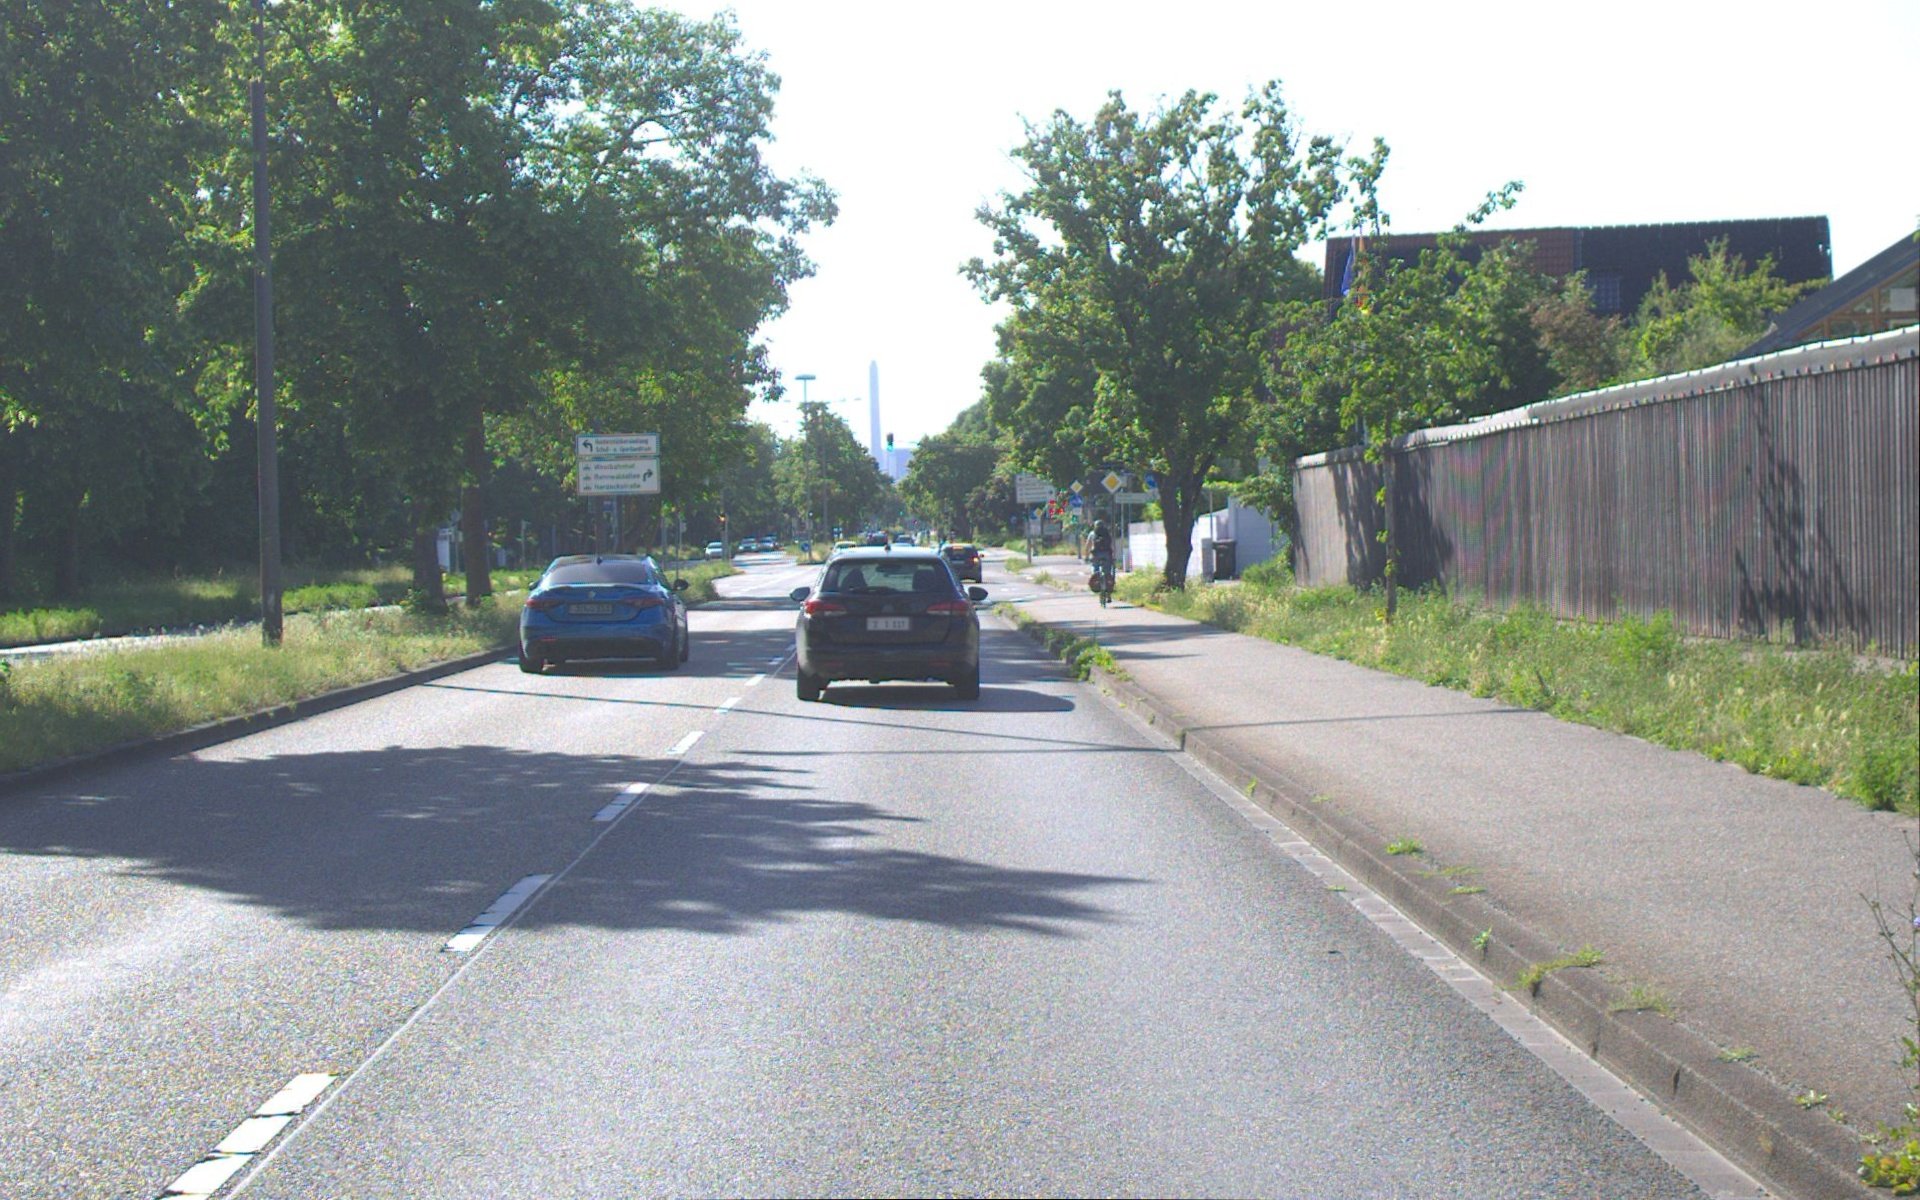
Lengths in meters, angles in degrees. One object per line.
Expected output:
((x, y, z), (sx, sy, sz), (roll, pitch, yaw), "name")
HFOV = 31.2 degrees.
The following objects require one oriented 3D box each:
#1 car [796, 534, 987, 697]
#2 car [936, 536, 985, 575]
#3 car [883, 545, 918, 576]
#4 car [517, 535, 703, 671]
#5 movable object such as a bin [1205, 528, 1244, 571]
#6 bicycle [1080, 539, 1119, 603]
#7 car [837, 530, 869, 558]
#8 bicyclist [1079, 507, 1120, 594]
((-0.667, 0.123, 33.947), (1.755, 1.504, 3.809), (-1, 1, -1), "car")
((0.042, -1.734, 133.359), (1.732, 1.454, 3.840), (-1, 1, 3), "car")
((-3.118, -2.036, 179.409), (1.732, 1.579, 3.840), (1, 1, -2), "car")
((-4.259, 0.016, 42.355), (1.888, 1.546, 4.000), (-2, 1, -1), "car")
((7.678, -1.464, 99.762), (1.002, 1.201, 1.062), (-3, 0, 7), "movable object such as a bin")
((2.713, -0.568, 66.714), (0.574, 1.151, 2.140), (-4, 2, 5), "bicycle")
((-6.420, -3.393, 206.526), (1.824, 1.609, 3.841), (-2, 1, -1), "car")
((2.709, -0.969, 66.775), (0.630, 1.627, 0.982), (-4, 1, 5), "bicyclist")
